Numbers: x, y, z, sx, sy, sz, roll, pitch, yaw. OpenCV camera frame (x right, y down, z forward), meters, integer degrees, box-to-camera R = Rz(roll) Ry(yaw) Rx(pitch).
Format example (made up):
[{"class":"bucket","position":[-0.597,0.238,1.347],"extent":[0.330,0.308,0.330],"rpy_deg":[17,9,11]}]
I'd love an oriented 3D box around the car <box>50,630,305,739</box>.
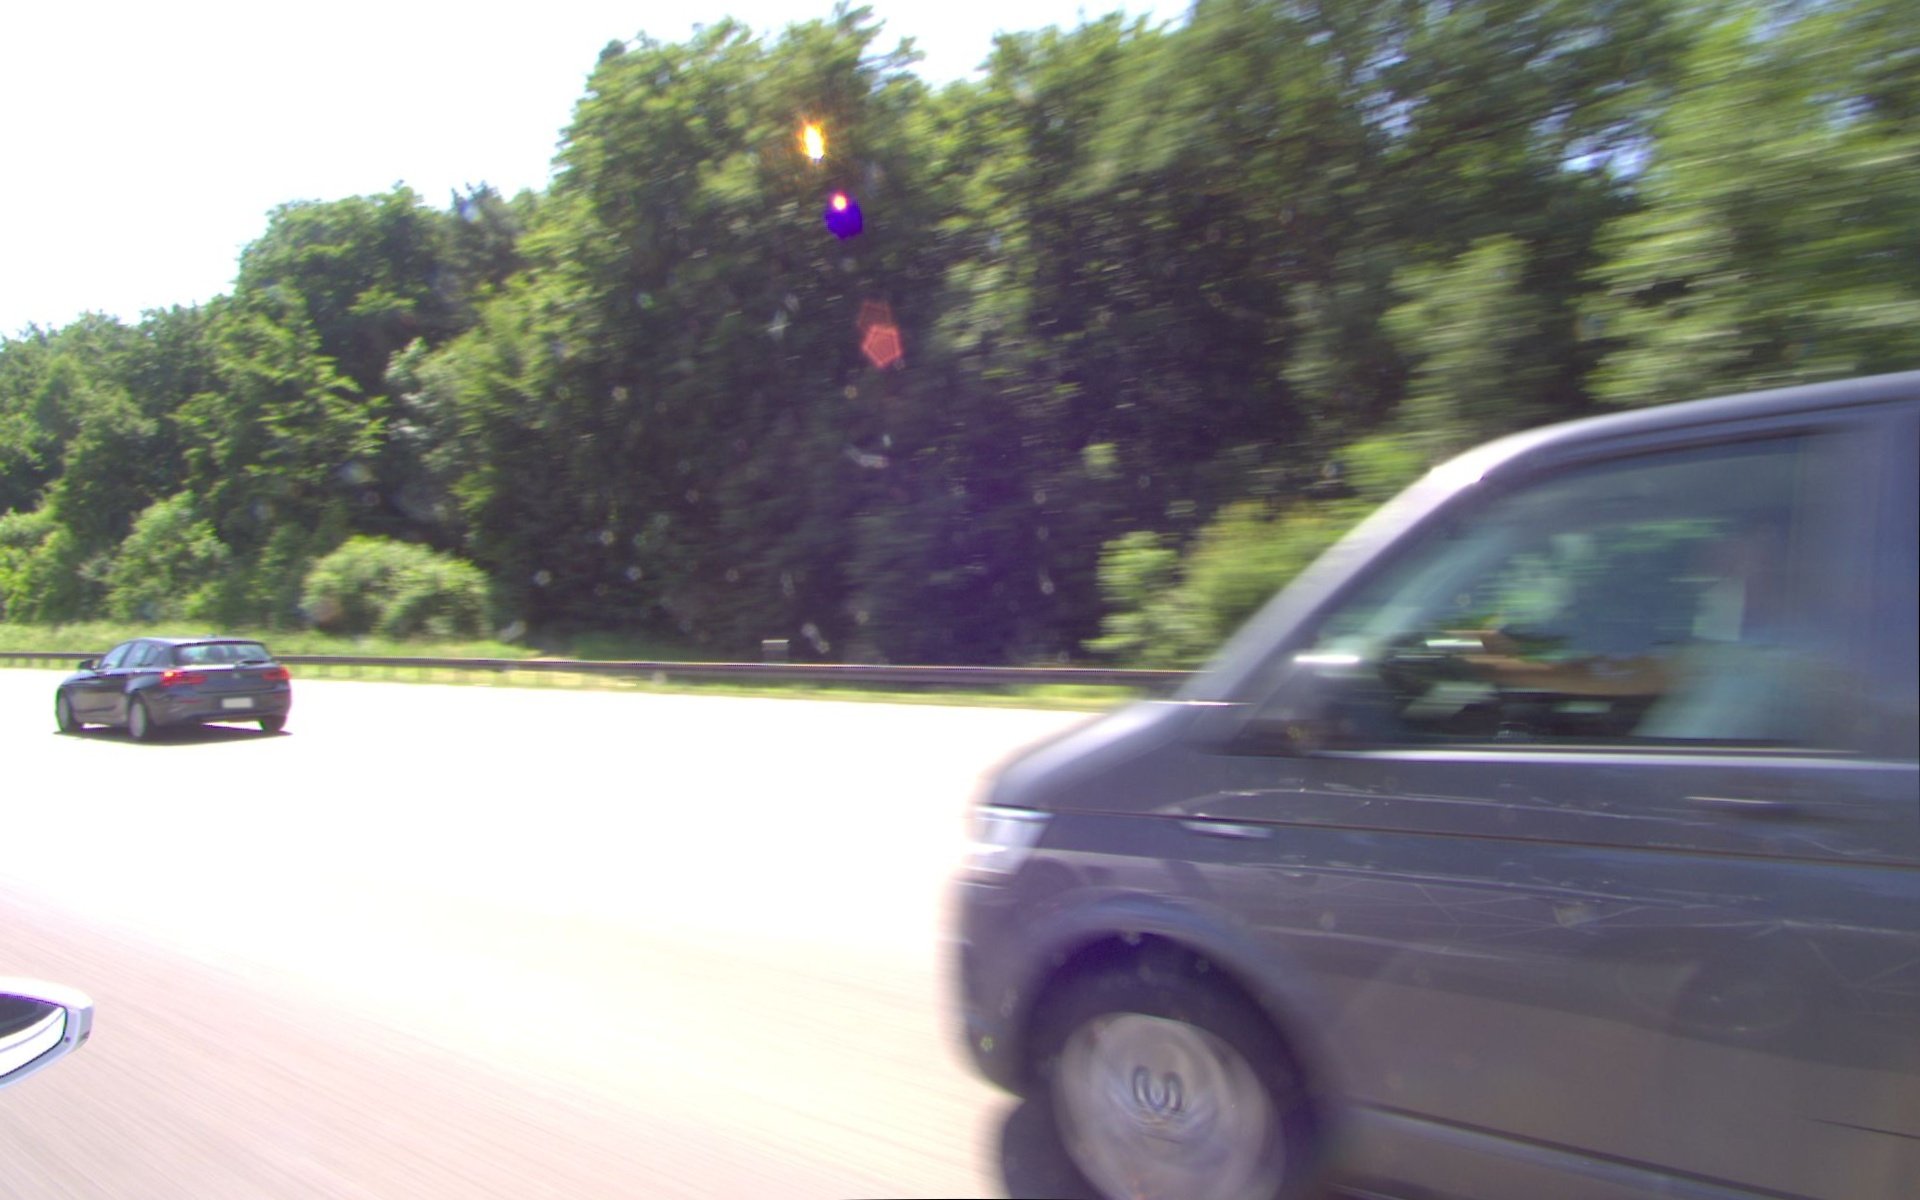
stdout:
[{"class":"car","position":[-11.588,1.156,14.772],"extent":[4.094,1.414,1.699],"rpy_deg":[-1,-2,32]}]

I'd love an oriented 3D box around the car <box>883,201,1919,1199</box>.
[{"class":"car","position":[2.424,0.426,2.107],"extent":[5.011,2.059,1.959],"rpy_deg":[-1,-1,32]}]

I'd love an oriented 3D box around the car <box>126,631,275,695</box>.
[{"class":"car","position":[-18.810,1.510,24.763],"extent":[4.279,1.462,1.542],"rpy_deg":[-1,-2,32]}]
